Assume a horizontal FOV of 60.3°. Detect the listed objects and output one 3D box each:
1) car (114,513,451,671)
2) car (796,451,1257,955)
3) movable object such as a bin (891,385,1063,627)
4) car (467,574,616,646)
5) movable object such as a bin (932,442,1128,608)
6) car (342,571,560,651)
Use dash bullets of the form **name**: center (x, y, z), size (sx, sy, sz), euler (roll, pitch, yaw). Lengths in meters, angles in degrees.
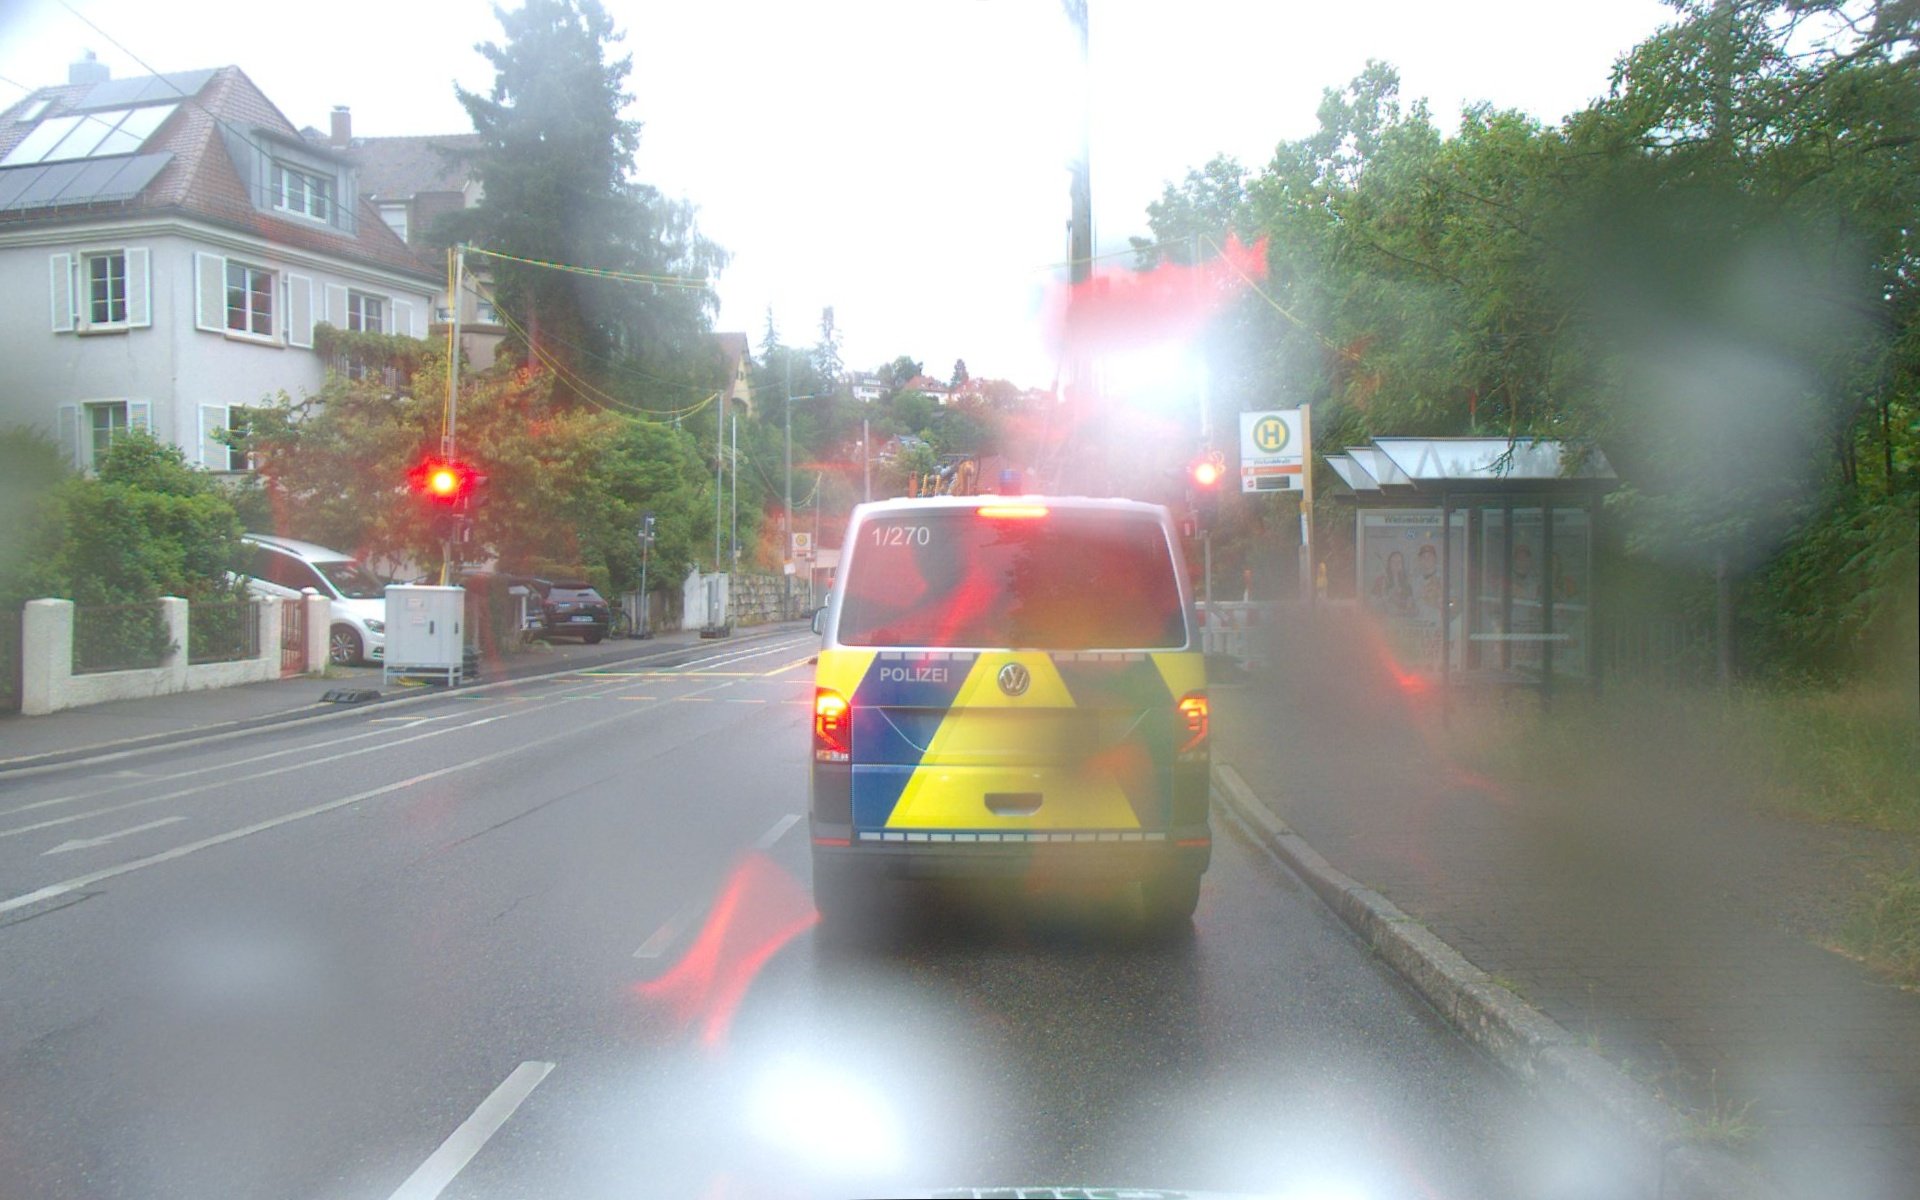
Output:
- **car**: center (-11.235, -0.177, 27.500), size (4.865, 1.642, 1.865), euler (11, 4, 13)
- **car**: center (0.247, 0.436, 9.029), size (1.869, 2.046, 4.438), euler (1, 0, -1)
- **movable object such as a bin**: center (0.433, -1.703, 31.596), size (2.817, 4.243, 4.491), euler (-1, 1, 6)
- **car**: center (-9.559, 0.202, 37.586), size (1.769, 1.552, 3.943), euler (1, 0, -39)
- **movable object such as a bin**: center (2.491, -2.369, 55.906), size (3.615, 5.155, 7.147), euler (-1, -1, 31)
- **car**: center (-10.645, 0.220, 34.692), size (3.902, 1.552, 1.942), euler (1, 0, 12)
